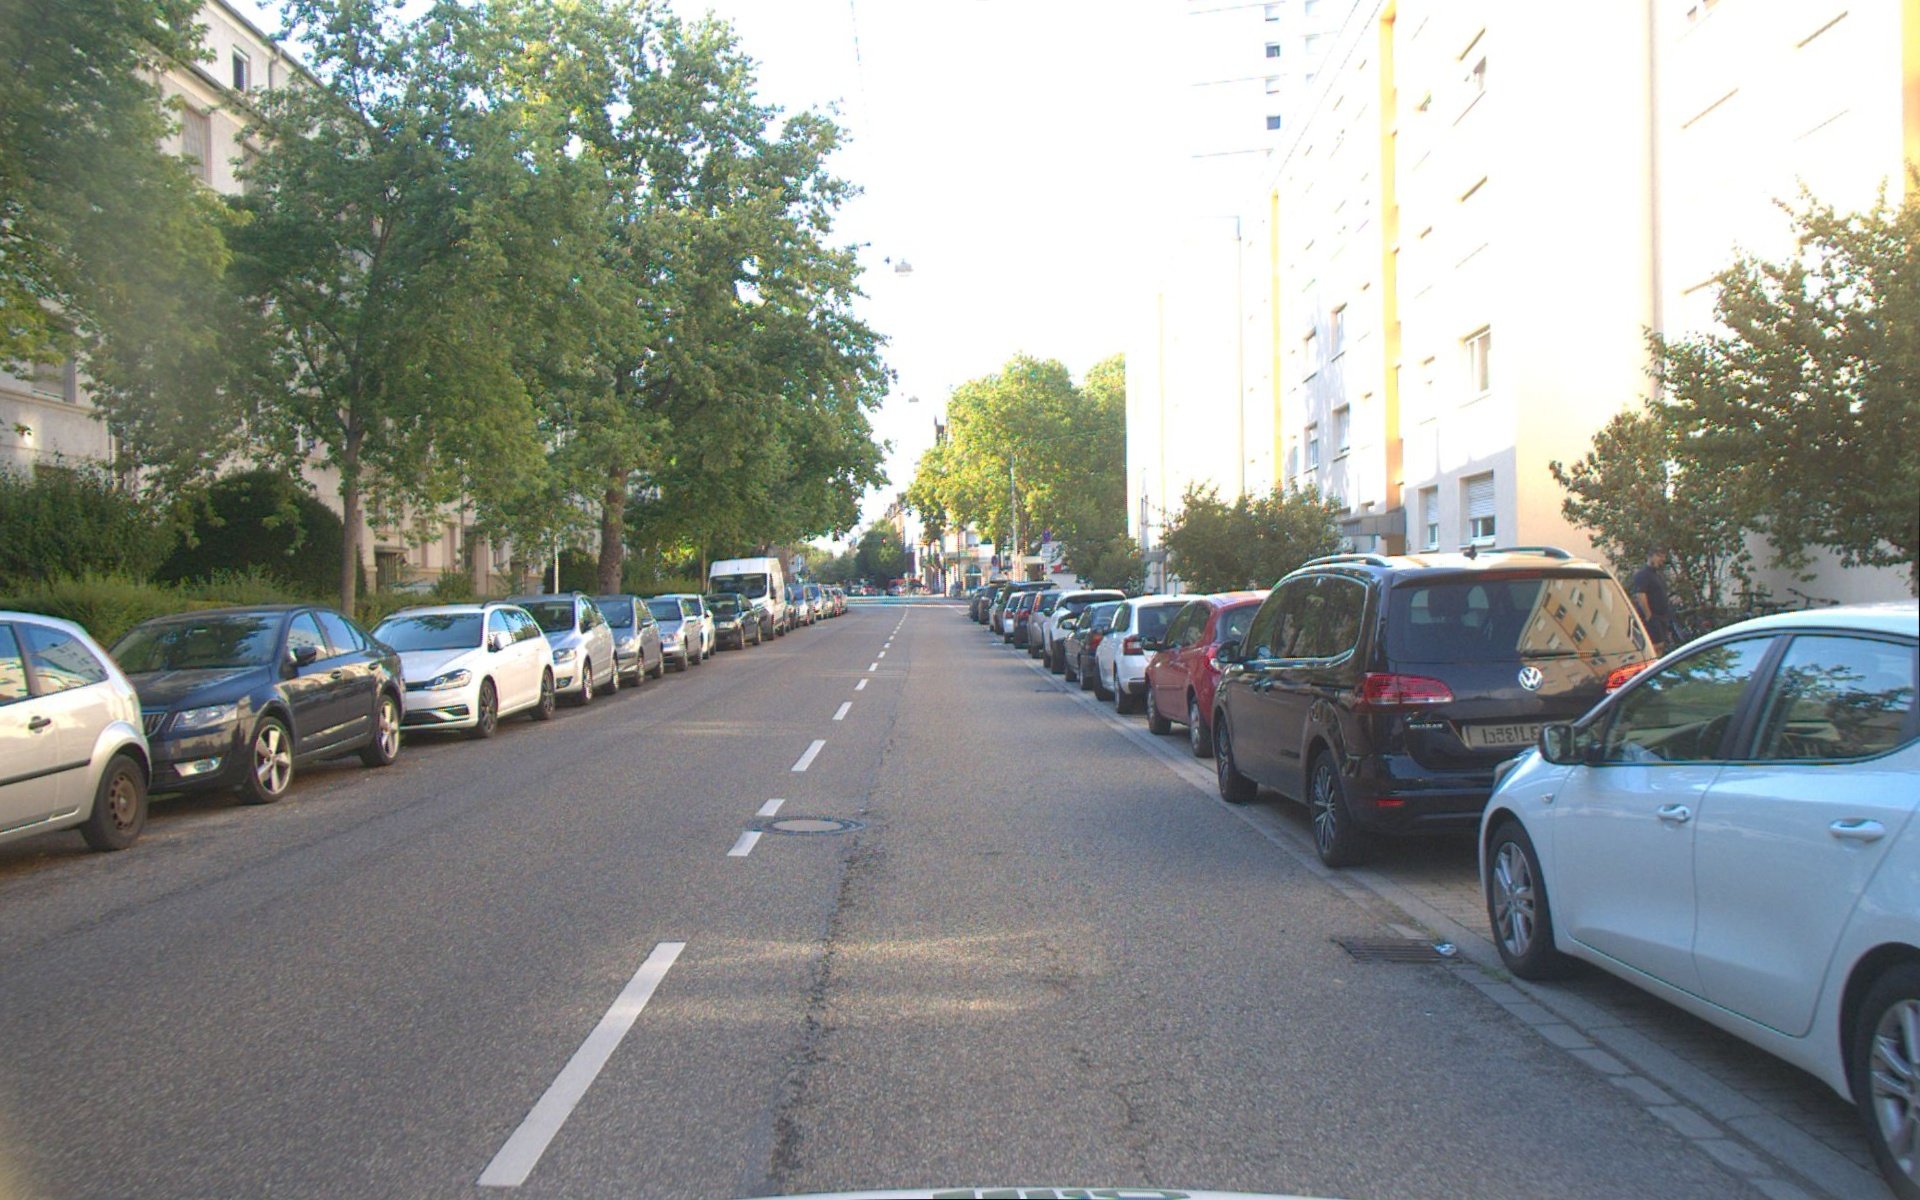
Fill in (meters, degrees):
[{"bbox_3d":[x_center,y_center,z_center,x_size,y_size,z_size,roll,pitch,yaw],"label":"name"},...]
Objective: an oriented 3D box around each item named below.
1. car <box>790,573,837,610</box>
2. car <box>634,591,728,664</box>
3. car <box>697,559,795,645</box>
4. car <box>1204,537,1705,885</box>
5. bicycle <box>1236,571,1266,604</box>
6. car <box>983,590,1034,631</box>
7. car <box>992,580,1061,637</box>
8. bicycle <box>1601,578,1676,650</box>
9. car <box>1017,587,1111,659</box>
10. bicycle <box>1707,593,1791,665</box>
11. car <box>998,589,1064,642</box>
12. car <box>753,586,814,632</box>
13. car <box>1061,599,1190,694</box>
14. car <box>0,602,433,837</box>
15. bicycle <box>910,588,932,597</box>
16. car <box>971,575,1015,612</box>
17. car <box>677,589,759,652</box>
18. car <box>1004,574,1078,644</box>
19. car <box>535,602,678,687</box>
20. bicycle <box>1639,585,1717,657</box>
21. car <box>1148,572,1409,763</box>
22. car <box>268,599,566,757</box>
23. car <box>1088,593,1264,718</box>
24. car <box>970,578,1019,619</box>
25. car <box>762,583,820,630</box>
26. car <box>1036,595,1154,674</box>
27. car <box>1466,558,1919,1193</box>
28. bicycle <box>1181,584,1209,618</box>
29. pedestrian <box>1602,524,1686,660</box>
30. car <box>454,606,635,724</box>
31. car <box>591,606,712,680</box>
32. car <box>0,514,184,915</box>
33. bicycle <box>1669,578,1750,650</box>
[{"bbox_3d":[-6.937,-0.391,78.618,1.877,1.707,4.972,0,0,-1],"label":"car"},{"bbox_3d":[-6.444,0.612,38.536,1.672,1.601,3.260,1,0,-1],"label":"car"},{"bbox_3d":[-6.493,0.067,50.869,2.310,2.488,6.163,0,0,-1],"label":"car"},{"bbox_3d":[2.862,0.565,10.746,1.736,1.707,4.645,-2,0,-1],"label":"car"},{"bbox_3d":[10.566,-0.450,60.059,0.588,1.100,2.393,-2,2,-1],"label":"bicycle"},{"bbox_3d":[1.732,0.366,60.396,1.645,1.440,4.722,0,0,-1],"label":"car"},{"bbox_3d":[2.149,0.273,54.692,1.983,1.780,4.765,0,0,-1],"label":"car"},{"bbox_3d":[9.365,0.186,22.873,0.428,0.958,1.792,0,0,4],"label":"bicycle"},{"bbox_3d":[2.444,0.521,39.824,1.922,1.633,4.278,0,0,-1],"label":"car"},{"bbox_3d":[10.866,0.383,22.833,0.428,0.958,1.792,0,0,4],"label":"bicycle"},{"bbox_3d":[2.087,0.445,49.380,1.799,1.528,4.172,0,0,0],"label":"car"},{"bbox_3d":[-6.340,0.320,59.858,1.833,1.585,4.364,0,0,-1],"label":"car"},{"bbox_3d":[2.686,0.717,27.604,1.627,1.463,4.312,0,0,-1],"label":"car"},{"bbox_3d":[-5.863,0.797,13.322,1.836,1.459,4.801,-3,0,-3],"label":"car"},{"bbox_3d":[-5.087,-1.000,216.142,2.750,1.224,0.509,0,0,-8],"label":"bicycle"},{"bbox_3d":[1.528,-0.293,78.021,1.888,1.688,4.676,0,0,-1],"label":"car"},{"bbox_3d":[-6.348,0.520,43.767,1.672,1.601,3.818,0,0,-1],"label":"car"},{"bbox_3d":[2.149,0.226,44.748,1.799,1.803,3.978,0,0,0],"label":"car"},{"bbox_3d":[-6.100,0.730,28.985,1.836,1.379,3.998,0,0,-3],"label":"car"},{"bbox_3d":[9.883,0.278,22.816,0.428,0.958,1.792,0,0,4],"label":"bicycle"},{"bbox_3d":[2.987,0.583,16.316,1.735,1.645,3.999,0,0,-1],"label":"car"},{"bbox_3d":[-5.965,0.778,18.779,1.963,1.579,4.471,0,0,-1],"label":"car"},{"bbox_3d":[2.817,0.682,22.357,1.736,1.479,3.999,-2,0,-1],"label":"car"},{"bbox_3d":[1.471,-0.094,72.387,1.859,1.680,4.341,2,1,-2],"label":"car"},{"bbox_3d":[-6.826,0.215,67.291,1.834,1.584,5.056,-6,1,-1],"label":"car"},{"bbox_3d":[2.602,0.644,32.779,1.836,1.468,3.998,0,0,-3],"label":"car"},{"bbox_3d":[3.139,0.632,5.217,1.736,1.534,3.999,-2,0,-1],"label":"car"},{"bbox_3d":[8.511,0.035,59.893,0.588,1.100,2.393,-2,2,-1],"label":"bicycle"},{"bbox_3d":[8.808,-0.105,21.300,0.750,1.687,0.536,-4,0,-1],"label":"pedestrian"},{"bbox_3d":[-6.012,0.889,24.370,1.836,1.579,3.998,0,0,-3],"label":"car"},{"bbox_3d":[-6.212,0.823,33.773,1.836,1.379,4.651,0,0,-3],"label":"car"},{"bbox_3d":[-5.903,0.644,8.411,1.953,2.048,3.999,-4,0,-1],"label":"car"},{"bbox_3d":[10.317,0.185,22.805,0.428,0.958,1.792,0,0,4],"label":"bicycle"}]
